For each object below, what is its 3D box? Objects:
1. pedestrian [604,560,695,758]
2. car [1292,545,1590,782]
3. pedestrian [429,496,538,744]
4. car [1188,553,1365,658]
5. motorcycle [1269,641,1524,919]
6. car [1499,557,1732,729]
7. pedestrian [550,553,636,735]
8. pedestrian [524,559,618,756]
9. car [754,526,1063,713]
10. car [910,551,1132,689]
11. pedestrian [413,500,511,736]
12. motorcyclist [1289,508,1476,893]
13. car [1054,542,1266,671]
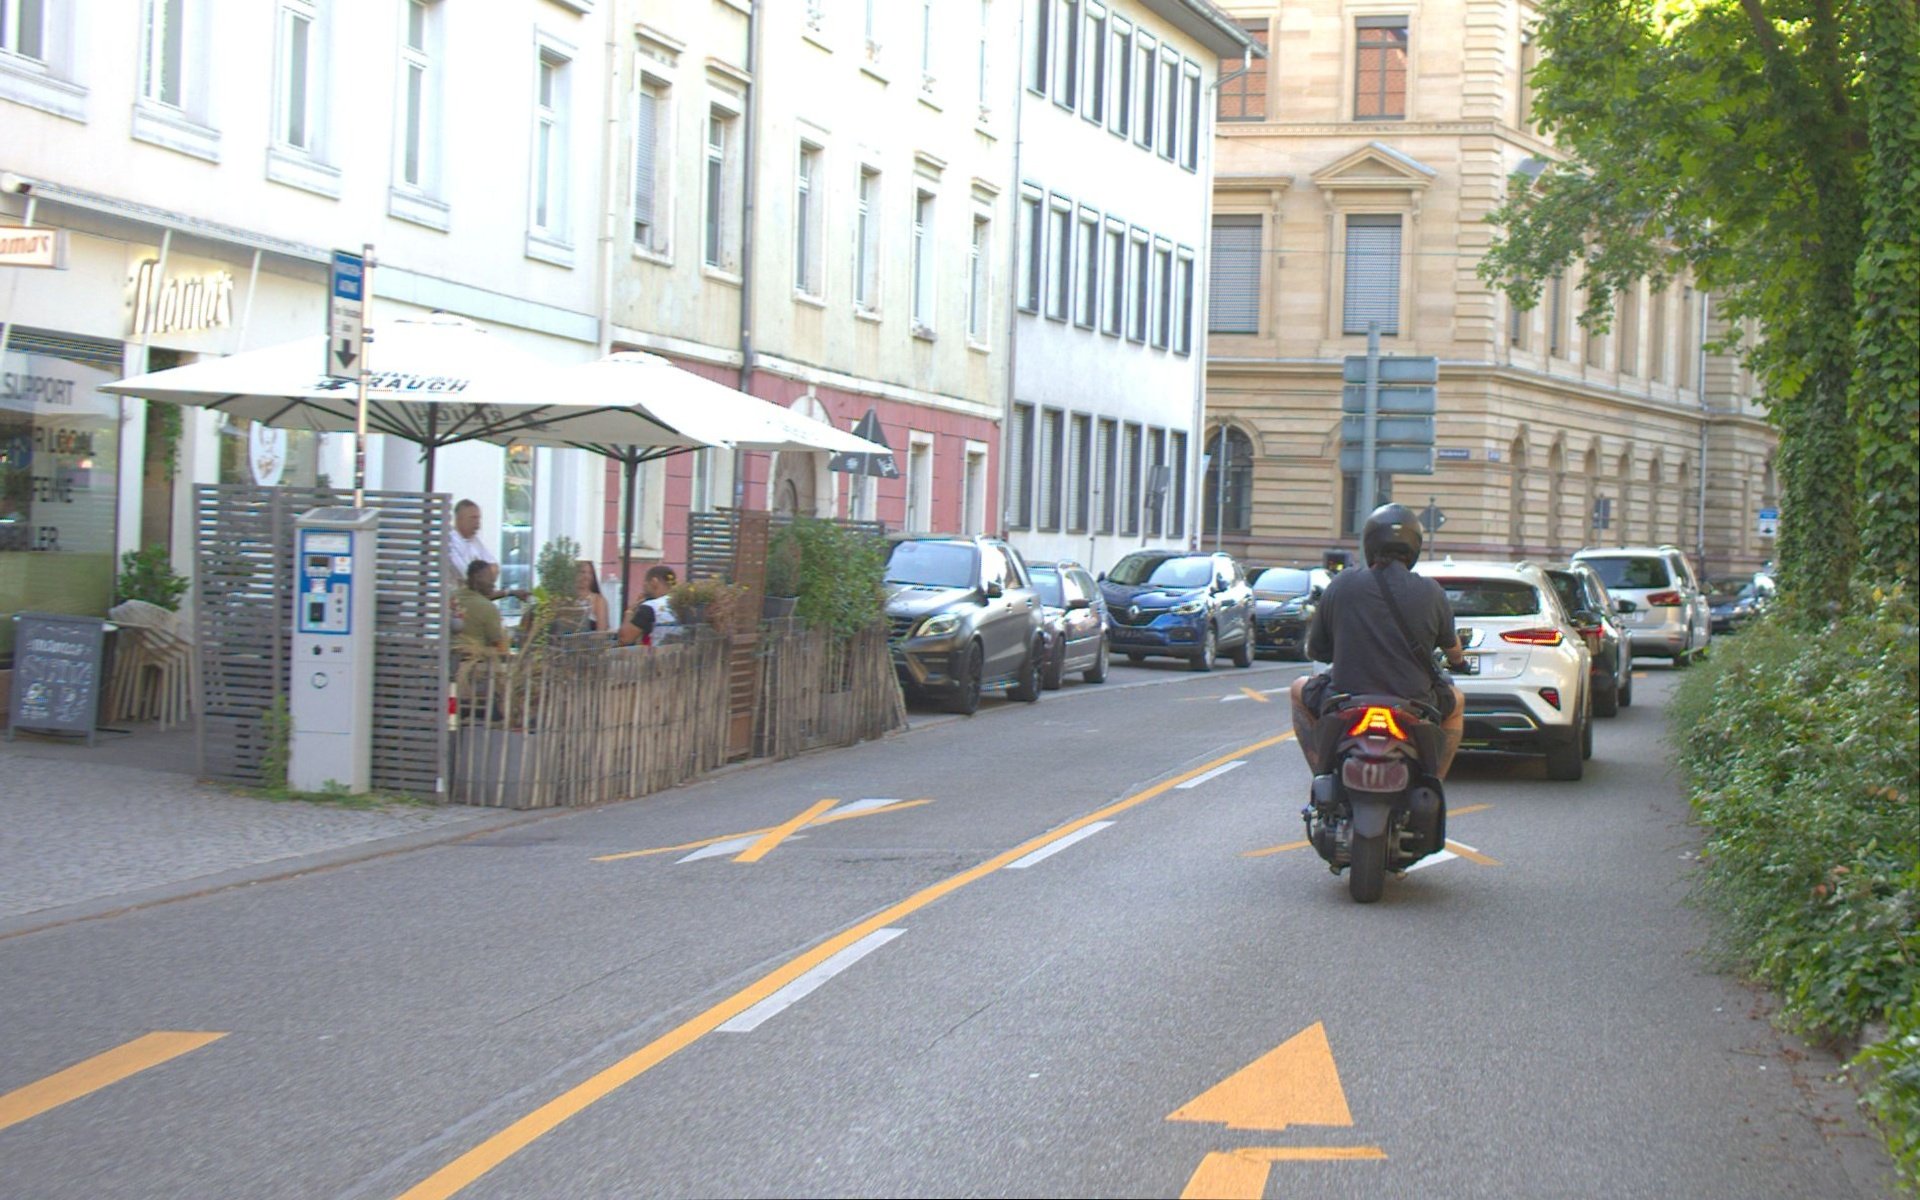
[{"bbox_3d":[-2.302,0.430,25.490,0.471,1.428,0.501,2,1,16],"label":"pedestrian"},{"bbox_3d":[3.491,0.382,24.393,1.851,1.475,4.056,2,1,11],"label":"car"},{"bbox_3d":[-3.464,0.141,25.007,0.596,1.769,0.439,2,1,20],"label":"pedestrian"},{"bbox_3d":[5.097,0.057,54.823,1.825,1.498,4.756,3,1,17],"label":"car"},{"bbox_3d":[1.895,0.760,15.167,0.796,1.062,1.725,3,1,-2],"label":"motorcycle"},{"bbox_3d":[6.374,0.363,33.112,1.841,1.458,4.055,3,1,15],"label":"car"},{"bbox_3d":[-2.857,0.335,26.811,0.523,1.386,0.488,2,1,8],"label":"pedestrian"},{"bbox_3d":[-2.805,0.406,24.817,0.523,1.386,0.488,2,1,8],"label":"pedestrian"},{"bbox_3d":[-0.418,0.146,34.036,1.923,1.674,4.782,1,1,13],"label":"car"},{"bbox_3d":[0.772,0.194,39.960,1.654,1.475,4.425,1,1,13],"label":"car"},{"bbox_3d":[-3.804,0.133,26.276,0.438,1.769,0.597,2,1,24],"label":"pedestrian"},{"bbox_3d":[1.864,0.429,15.247,0.657,1.645,0.651,3,1,-1],"label":"motorcyclist"},{"bbox_3d":[2.826,0.054,47.616,1.935,1.662,4.343,1,1,17],"label":"car"}]
